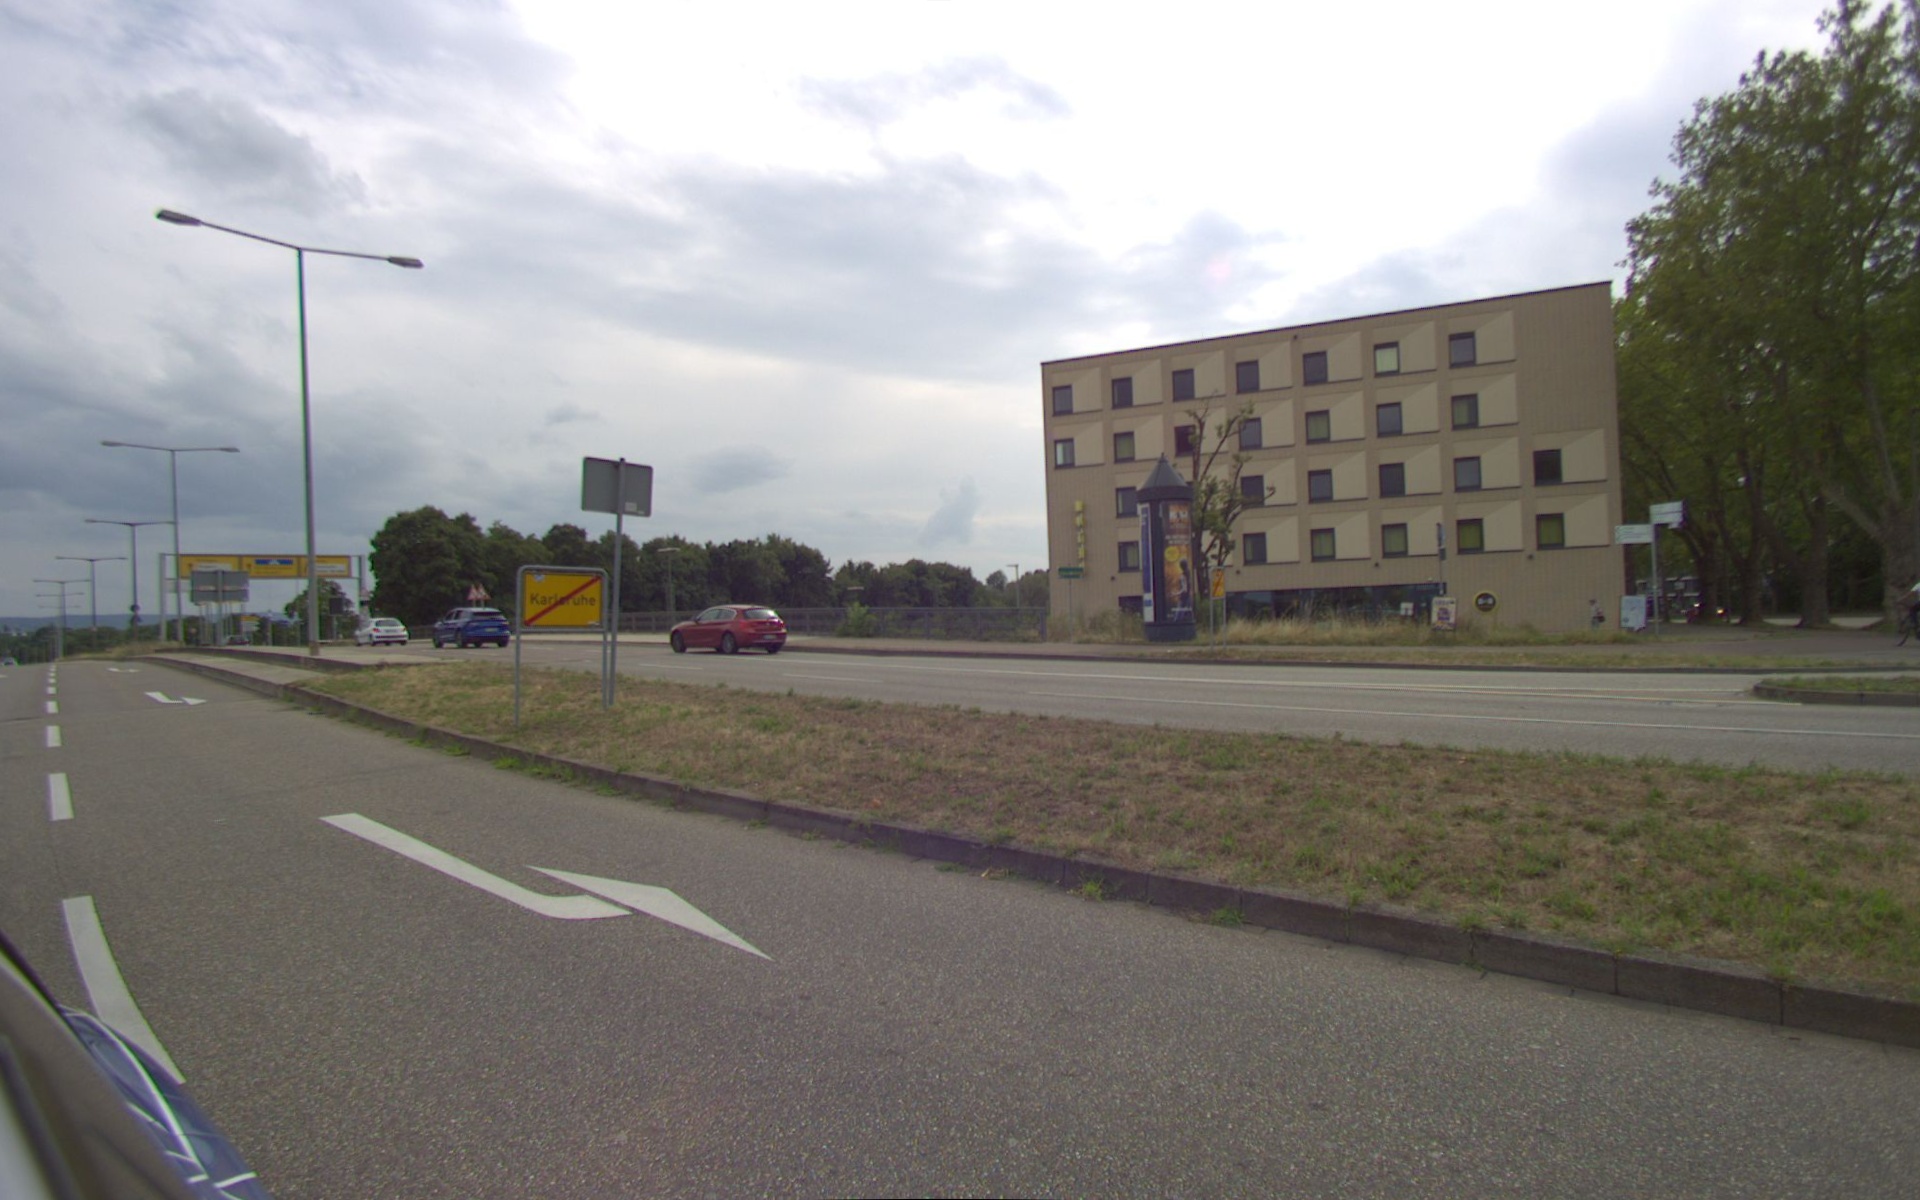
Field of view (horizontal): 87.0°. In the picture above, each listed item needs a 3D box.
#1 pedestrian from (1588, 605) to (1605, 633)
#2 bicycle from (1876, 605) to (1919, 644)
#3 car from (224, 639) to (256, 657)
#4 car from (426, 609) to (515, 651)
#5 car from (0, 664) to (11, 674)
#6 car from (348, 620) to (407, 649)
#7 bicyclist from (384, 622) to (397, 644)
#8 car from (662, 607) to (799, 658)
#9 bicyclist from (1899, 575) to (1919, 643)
[{"bbox_3d":[26.052,0.761,41.420,0.460,1.133,0.499,-2,-1,20],"label":"pedestrian"},{"bbox_3d":[24.241,0.613,25.172,0.800,0.959,2.236,-1,-1,-2],"label":"bicycle"},{"bbox_3d":[-61.071,4.064,85.876,1.771,1.429,4.005,-1,-1,-42],"label":"car"},{"bbox_3d":[-19.952,1.185,41.134,1.921,1.572,4.466,0,-1,-45],"label":"car"},{"bbox_3d":[-145.357,10.458,153.586,1.834,1.353,4.004,-1,-1,-42],"label":"car"},{"bbox_3d":[-30.996,1.793,53.807,3.877,1.456,1.706,-1,0,43],"label":"car"},{"bbox_3d":[-44.359,2.601,78.776,0.676,1.684,0.848,-1,-1,-44],"label":"bicyclist"},{"bbox_3d":[-6.957,0.948,30.434,4.213,1.391,1.923,-1,-1,42],"label":"car"},{"bbox_3d":[24.249,0.211,25.090,0.801,1.709,1.116,-1,-1,-2],"label":"bicyclist"}]
